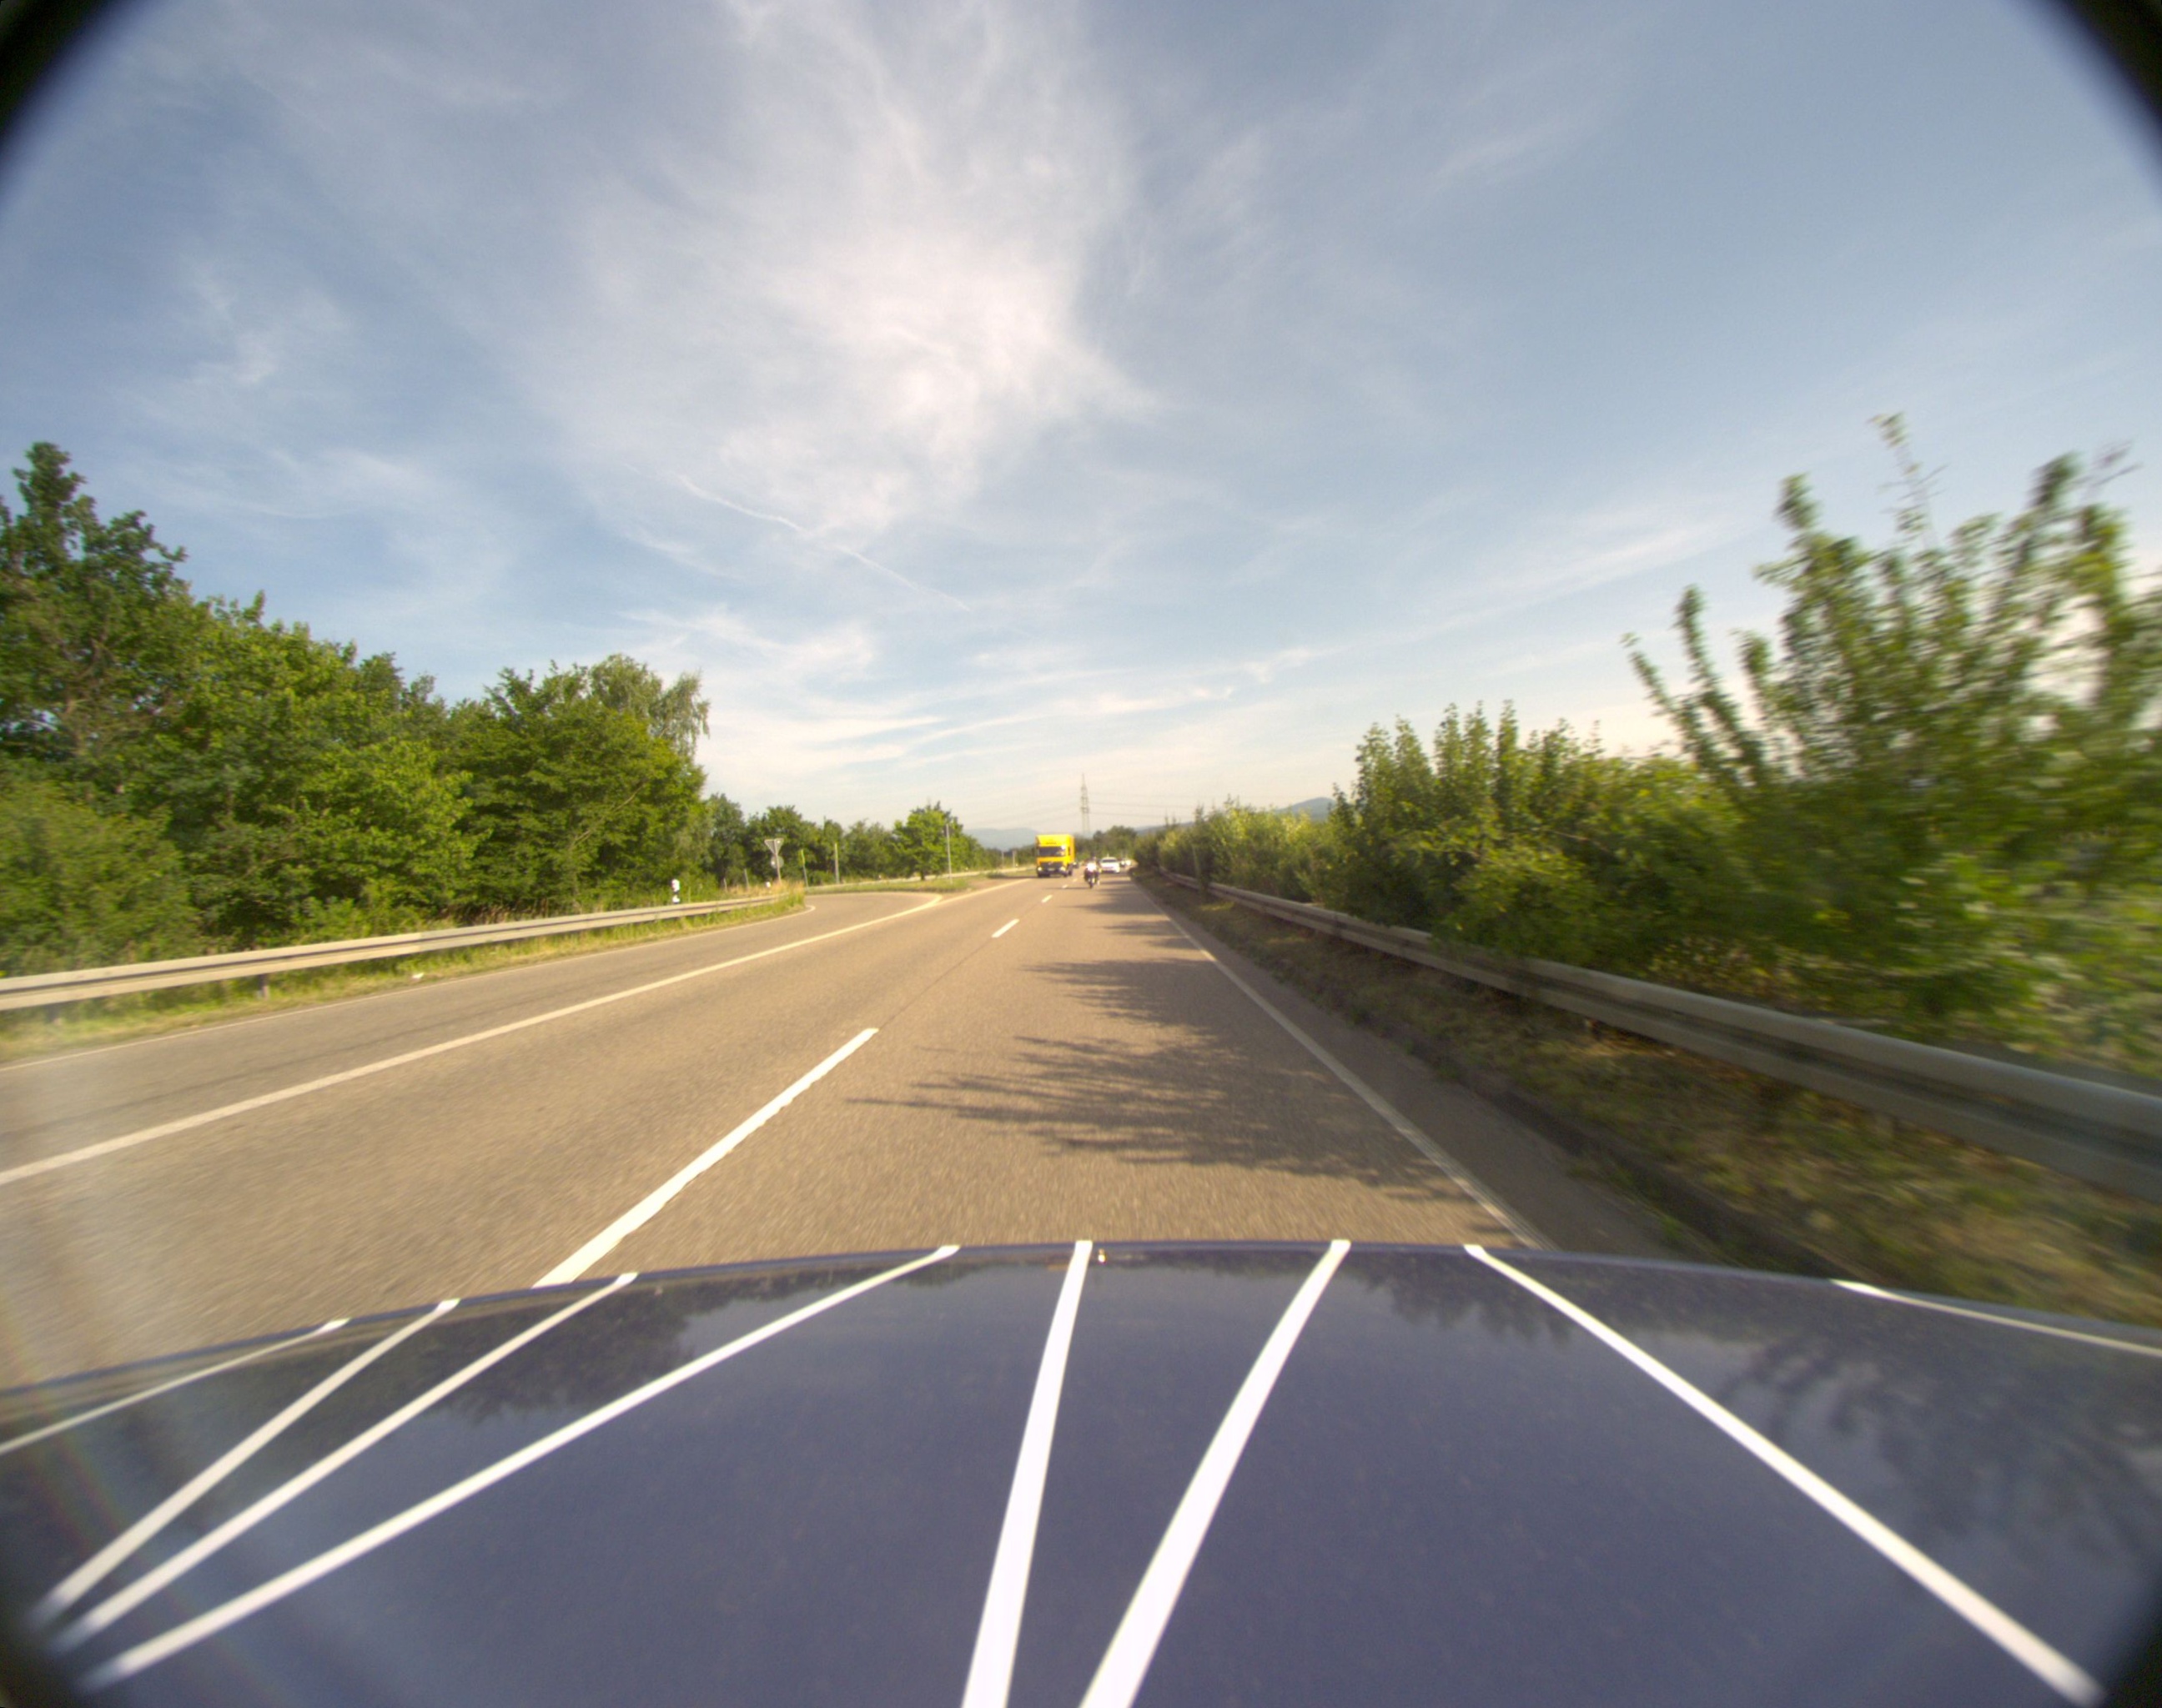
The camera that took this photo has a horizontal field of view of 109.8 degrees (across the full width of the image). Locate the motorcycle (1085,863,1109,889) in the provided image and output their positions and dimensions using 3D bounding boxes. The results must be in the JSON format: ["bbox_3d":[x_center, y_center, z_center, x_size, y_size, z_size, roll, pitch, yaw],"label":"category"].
[{"bbox_3d":[0.807,1.047,36.871,0.936,1.131,2.583,-1,1,6],"label":"motorcycle"}]

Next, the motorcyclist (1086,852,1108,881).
[{"bbox_3d":[0.789,0.602,36.868,0.936,1.344,1.143,-1,1,5],"label":"motorcyclist"}]

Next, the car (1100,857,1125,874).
[{"bbox_3d":[2.841,0.999,67.935,1.868,1.454,4.085,-2,0,6],"label":"car"}]

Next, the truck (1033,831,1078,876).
[{"bbox_3d":[-1.972,0.018,62.920,2.785,3.297,10.491,-2,0,2],"label":"truck"}]
